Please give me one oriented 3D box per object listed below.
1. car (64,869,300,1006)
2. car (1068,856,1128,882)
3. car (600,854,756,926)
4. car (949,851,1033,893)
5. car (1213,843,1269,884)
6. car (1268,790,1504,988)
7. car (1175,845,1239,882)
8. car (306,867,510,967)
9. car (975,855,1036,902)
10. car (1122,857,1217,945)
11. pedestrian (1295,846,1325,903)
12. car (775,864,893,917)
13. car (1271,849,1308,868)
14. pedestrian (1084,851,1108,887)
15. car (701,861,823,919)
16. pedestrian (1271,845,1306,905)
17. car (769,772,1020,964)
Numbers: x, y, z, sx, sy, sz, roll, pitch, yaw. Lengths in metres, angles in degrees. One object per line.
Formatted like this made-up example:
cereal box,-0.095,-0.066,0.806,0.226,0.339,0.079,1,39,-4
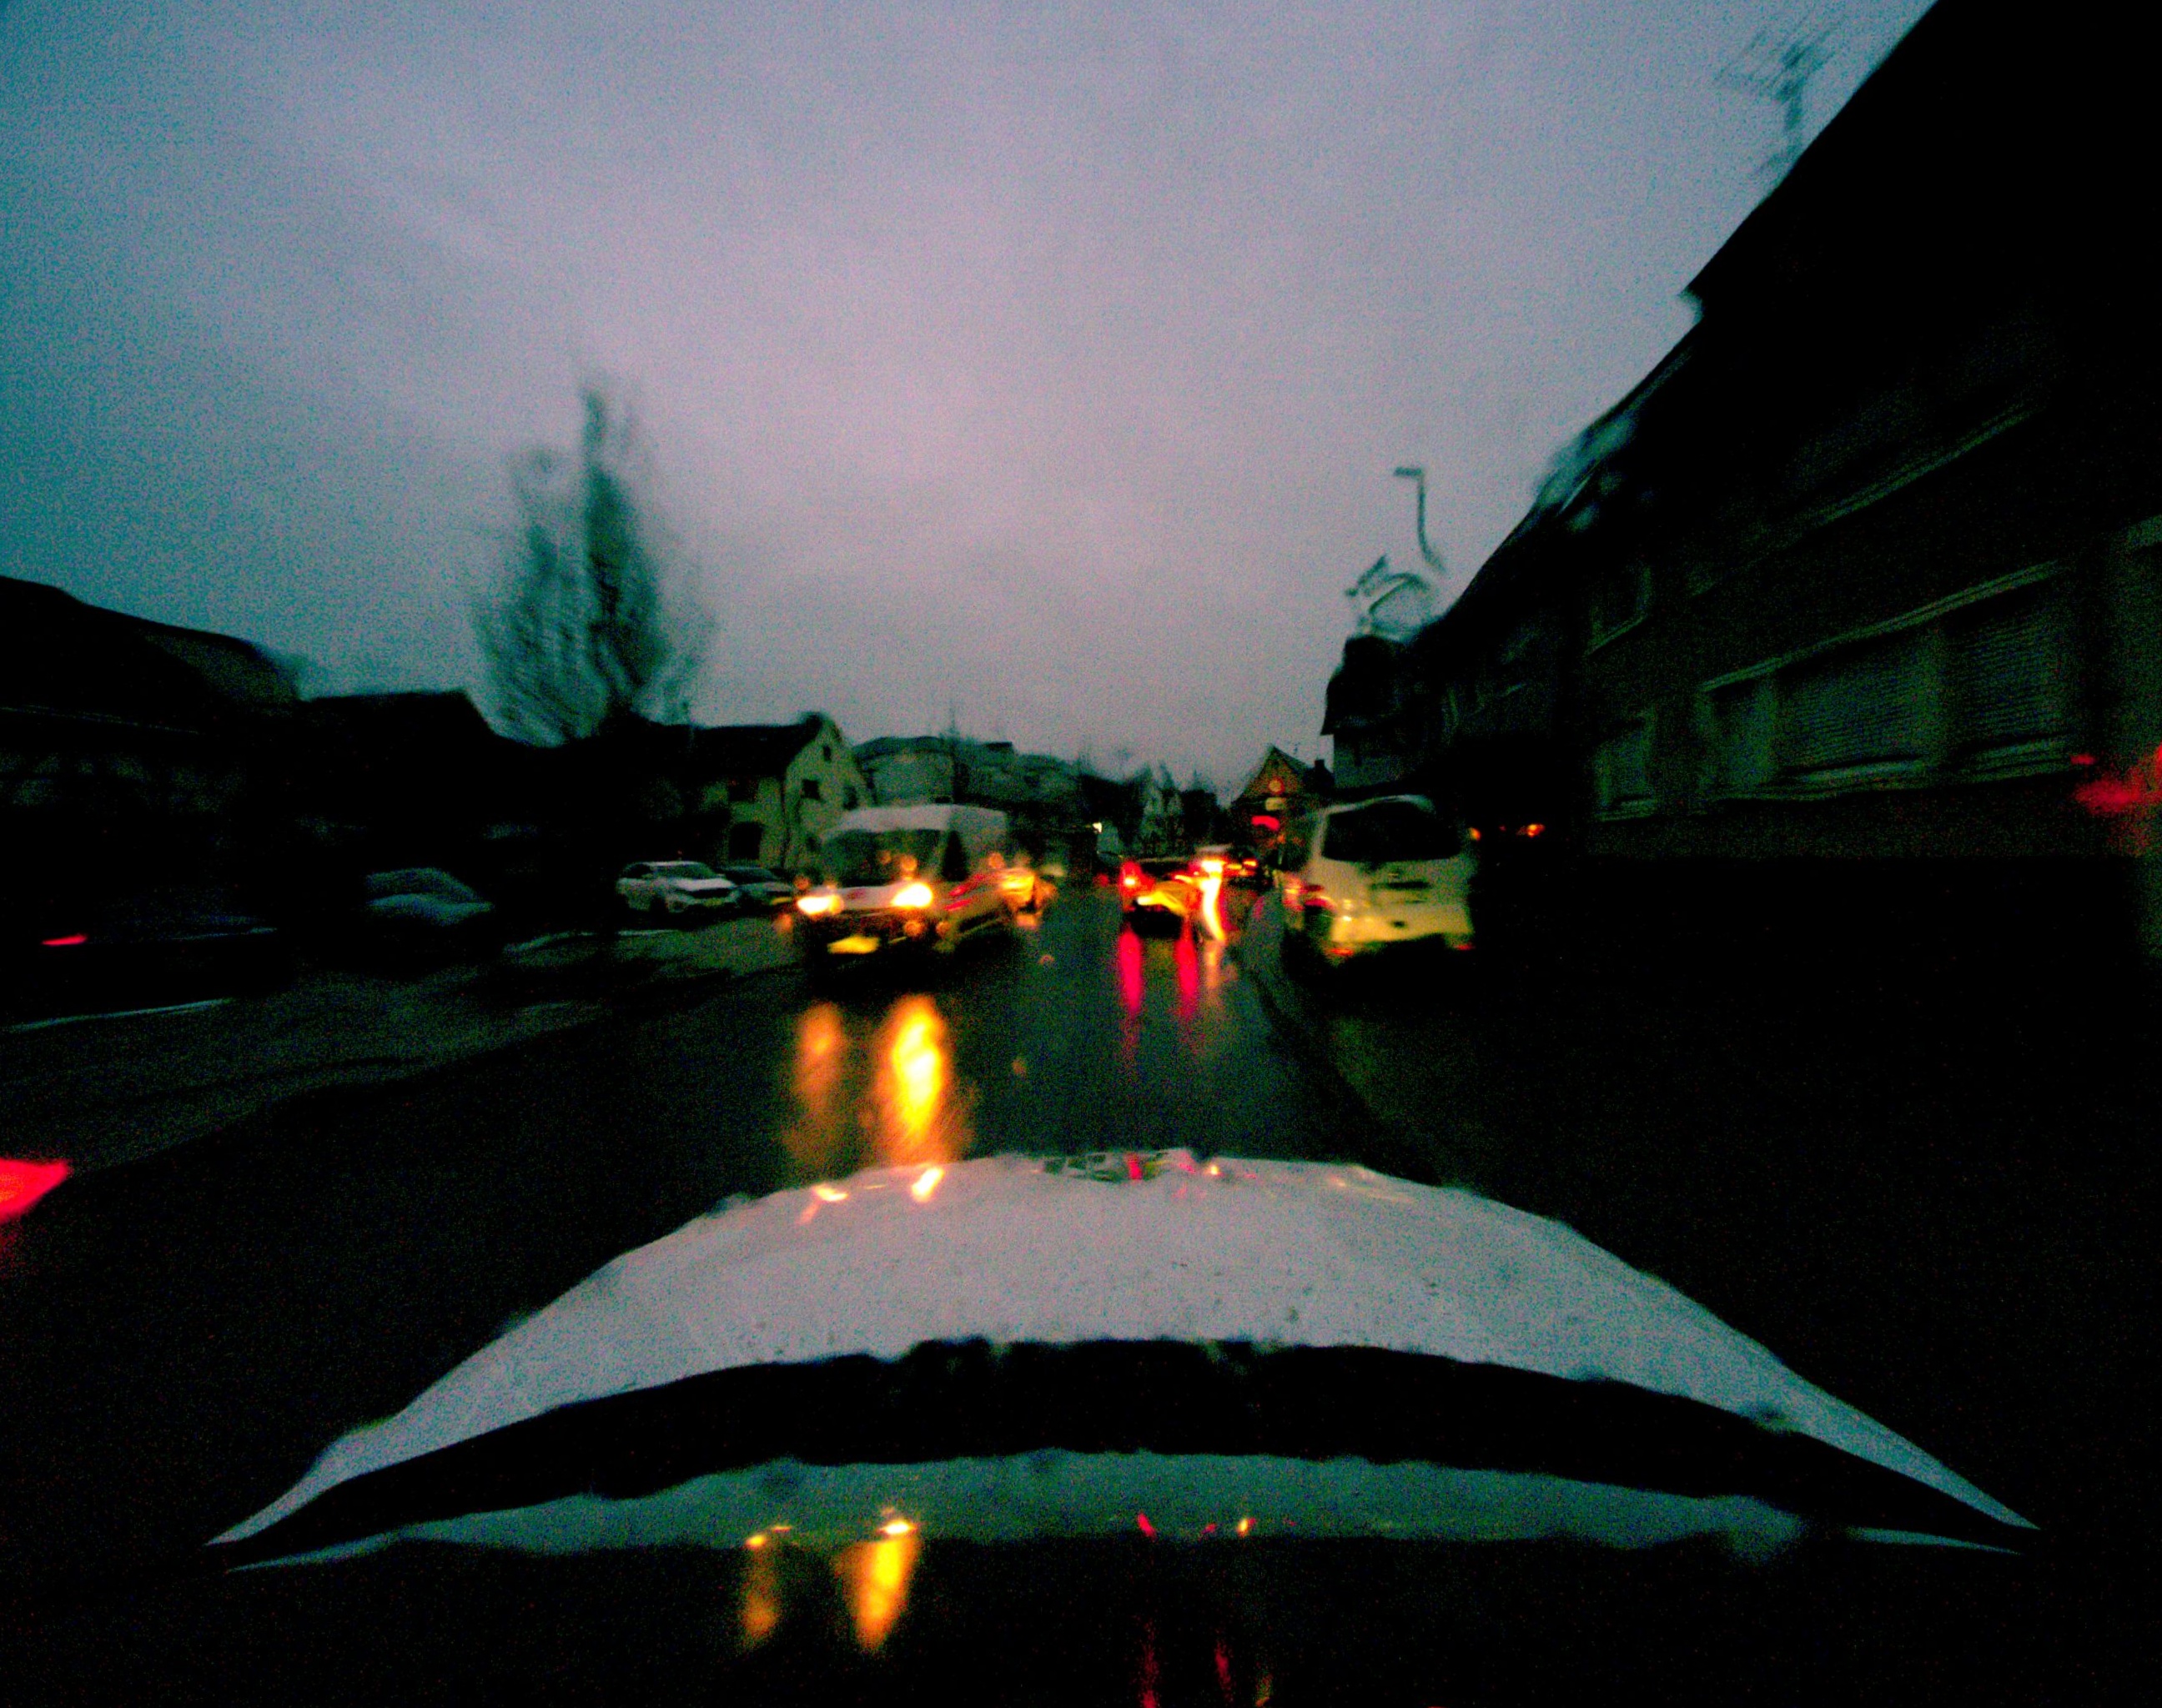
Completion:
car,-12.236,1.026,11.026,3.882,1.459,1.774,-3,0,37
car,1.058,0.962,52.282,1.747,1.477,4.045,-2,-1,-34
car,-10.586,0.930,21.255,4.596,1.654,2.000,-3,-1,41
car,-4.451,0.887,40.318,3.677,1.904,1.770,-3,-1,25
car,6.942,0.401,35.079,1.783,1.662,4.019,-1,0,19
car,3.632,0.358,10.686,1.961,1.960,4.865,-2,0,10
car,6.819,0.476,43.510,1.928,1.750,4.879,-4,-1,25
car,-11.721,1.020,14.112,4.021,1.459,1.769,-3,-1,36
car,-2.640,0.815,29.200,1.828,1.535,3.674,-1,0,-1
car,2.070,1.029,19.895,1.985,1.795,4.653,-2,0,4
pedestrian,6.820,0.602,24.272,0.578,1.669,0.790,-3,-1,-3
car,-8.081,1.151,26.475,2.012,1.530,3.950,-2,0,-45
car,16.734,0.340,65.341,1.653,1.516,4.025,0,1,33
pedestrian,0.783,0.769,42.232,0.746,1.866,1.067,-2,-1,33
car,-9.707,1.104,24.644,4.061,1.582,1.731,-4,-2,41
pedestrian,6.148,0.616,24.209,0.712,1.699,0.803,-3,-1,-5
car,-2.730,0.192,13.934,2.183,2.490,6.154,-2,0,6
